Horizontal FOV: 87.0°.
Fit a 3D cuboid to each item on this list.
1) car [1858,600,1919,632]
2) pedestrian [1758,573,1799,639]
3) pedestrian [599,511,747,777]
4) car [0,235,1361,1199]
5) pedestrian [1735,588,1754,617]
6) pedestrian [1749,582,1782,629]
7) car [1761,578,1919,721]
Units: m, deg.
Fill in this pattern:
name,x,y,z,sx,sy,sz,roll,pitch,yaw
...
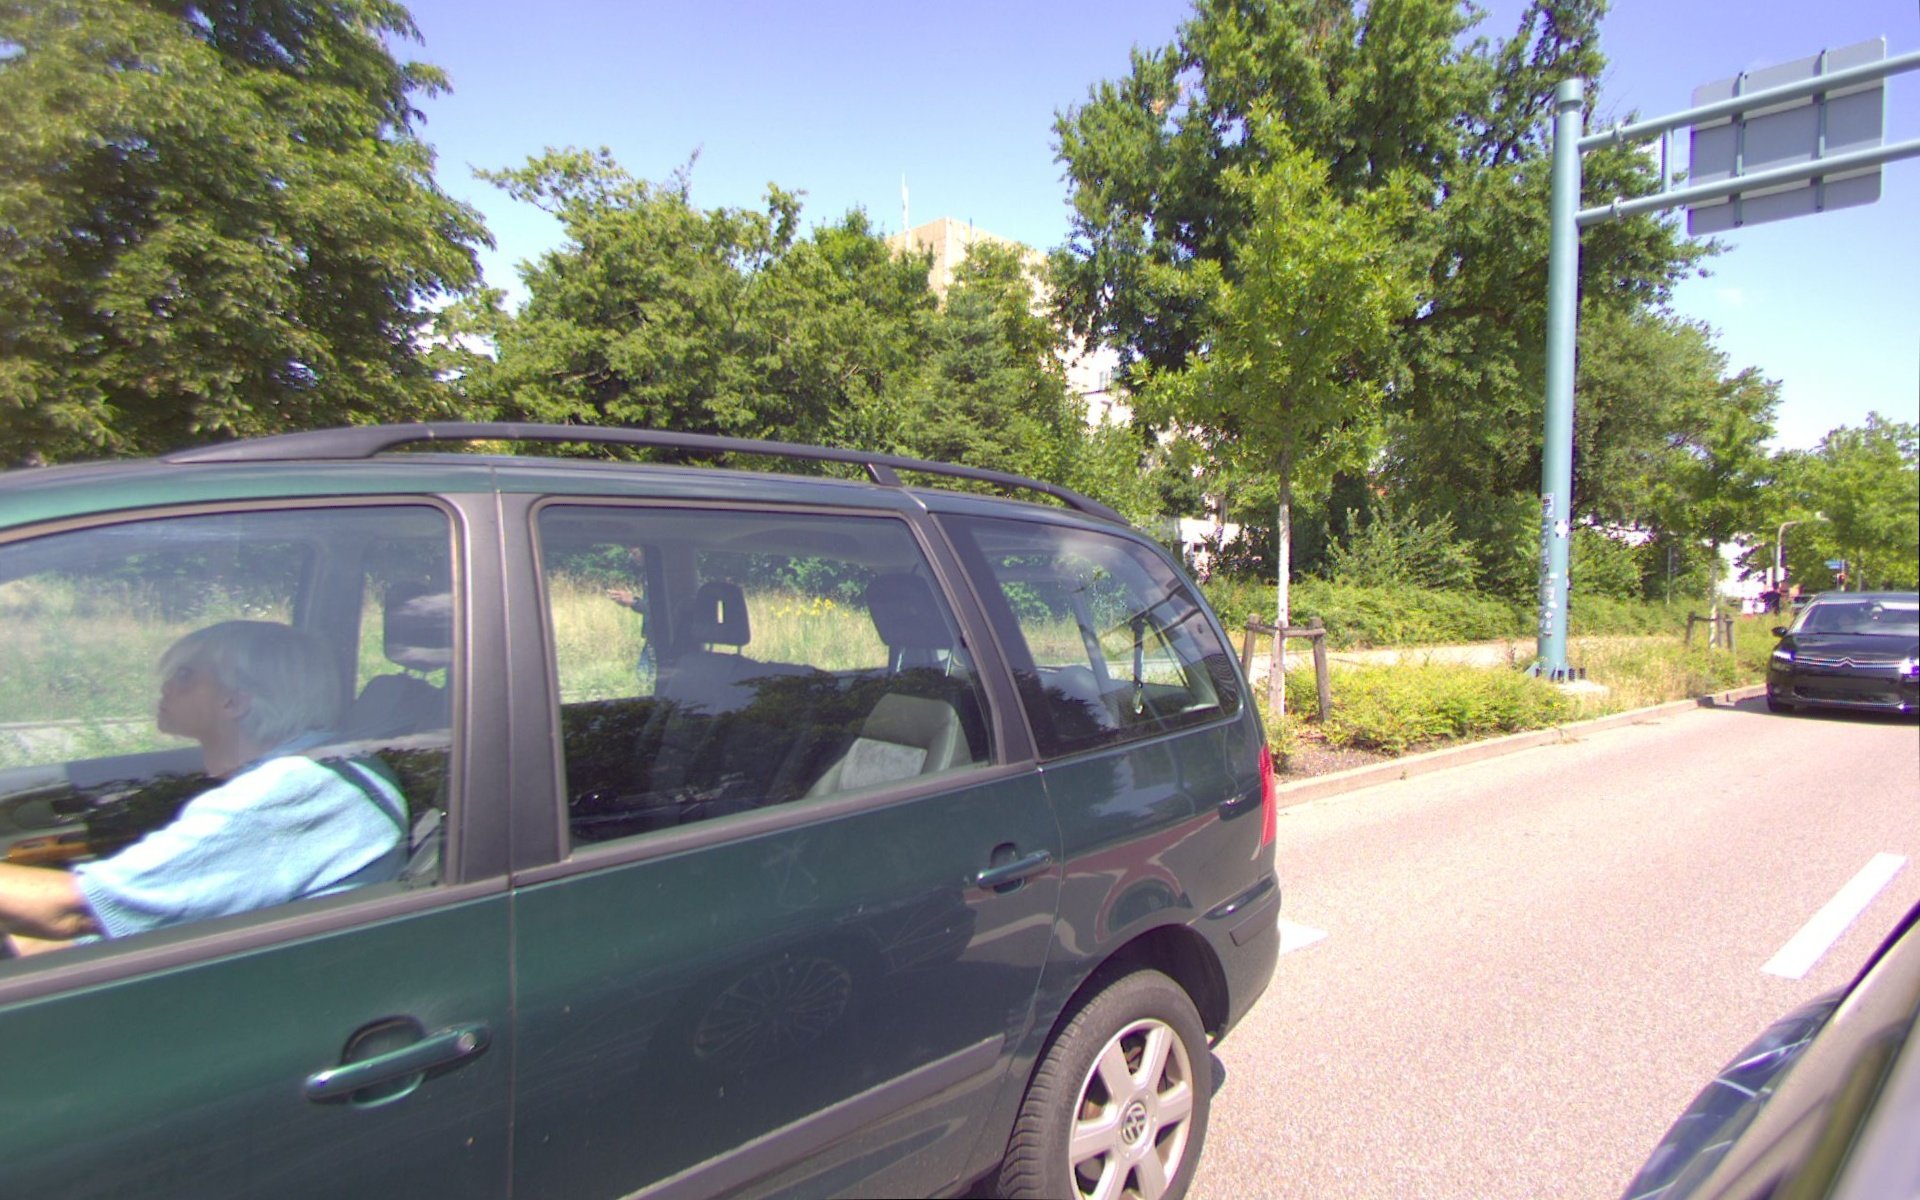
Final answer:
name,x,y,z,sx,sy,sz,roll,pitch,yaw
car,48.621,0.819,51.393,4.462,1.628,1.790,0,-1,43
pedestrian,22.603,0.168,27.942,0.869,1.787,0.640,1,1,-36
pedestrian,-1.996,0.276,7.000,0.799,1.705,0.762,1,1,-29
car,-1.137,0.526,1.963,4.315,1.737,1.804,0,-1,-41
pedestrian,45.154,0.129,58.264,0.763,1.630,0.755,2,1,44
pedestrian,35.829,0.242,45.030,0.834,2.063,0.897,1,0,17
car,12.282,0.578,13.427,4.400,1.628,1.815,1,-1,-41
